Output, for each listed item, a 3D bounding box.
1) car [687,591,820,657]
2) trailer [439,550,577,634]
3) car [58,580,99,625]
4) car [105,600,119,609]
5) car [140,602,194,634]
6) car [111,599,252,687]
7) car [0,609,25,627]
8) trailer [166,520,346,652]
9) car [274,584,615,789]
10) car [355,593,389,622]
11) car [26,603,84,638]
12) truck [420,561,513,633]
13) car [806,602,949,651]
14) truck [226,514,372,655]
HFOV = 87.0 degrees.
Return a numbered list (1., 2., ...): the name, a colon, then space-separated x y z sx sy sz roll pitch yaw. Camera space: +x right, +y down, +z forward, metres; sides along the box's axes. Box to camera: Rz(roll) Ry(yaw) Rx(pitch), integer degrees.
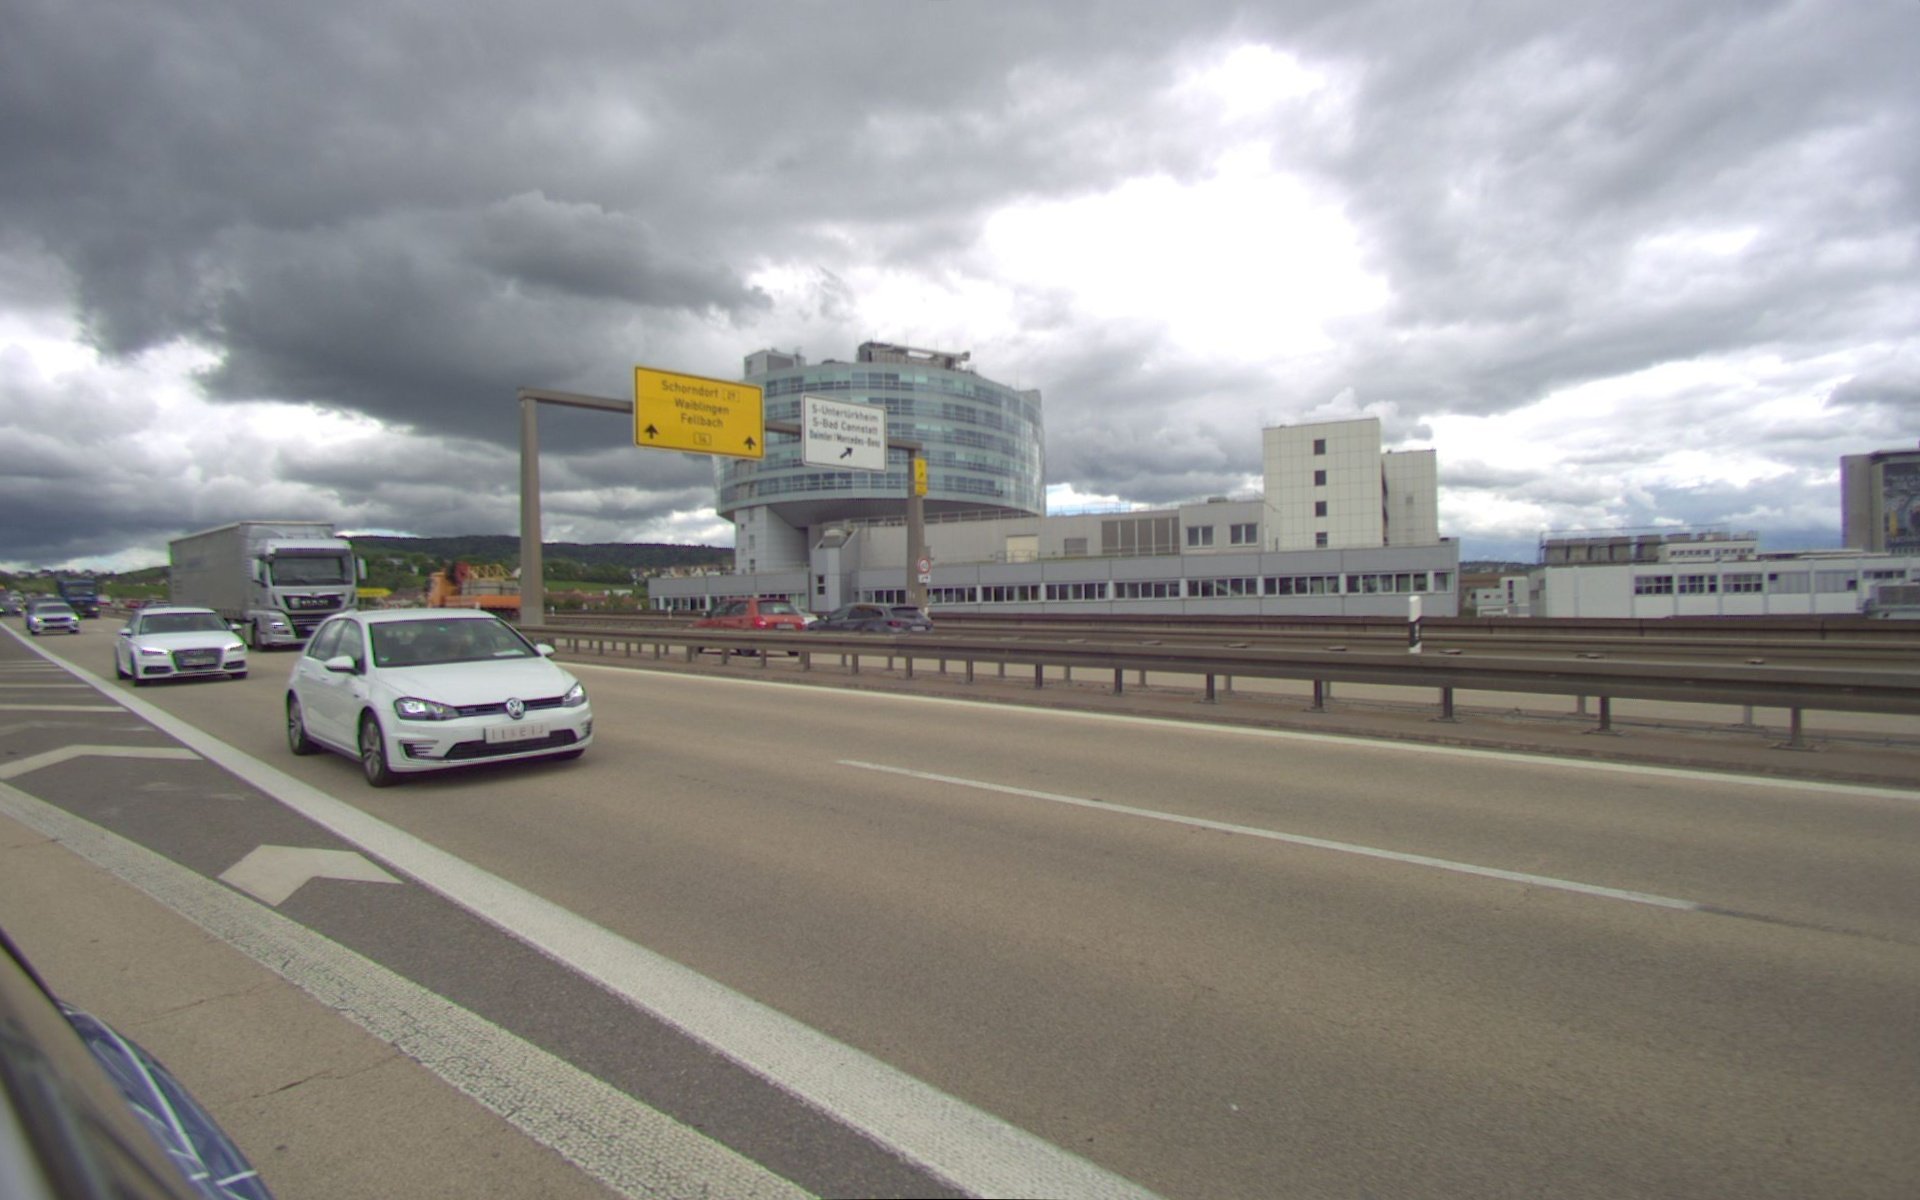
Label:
1. car: -5.376 0.594 26.113 1.674 1.563 3.646 2 -2 -43
2. trailer: -21.971 -0.237 48.848 9.358 3.664 2.704 -2 -3 44
3. car: -77.282 0.226 88.662 2.331 3.688 4.803 -4 2 -44
4. car: -154.133 0.751 183.984 1.664 1.529 3.653 -4 2 -44
5. car: -41.725 0.948 53.229 1.762 1.529 4.003 -4 2 -44
6. car: -15.599 0.801 20.209 1.762 1.529 4.003 -3 1 -44
7. car: -95.258 1.790 101.414 1.968 1.695 4.007 -2 0 -39
8. trailer: -25.954 -0.455 36.825 13.980 4.041 2.824 0 1 45
9. car: -4.993 0.663 9.528 4.002 1.508 1.689 -1 0 45
10. car: -55.137 0.724 94.791 2.543 2.664 6.208 0 -1 -32
11. car: -47.253 1.073 52.836 4.001 1.695 1.971 -1 0 44
12. truck: -25.490 -0.082 52.218 5.107 3.506 2.711 -2 -3 44
13. car: -2.346 0.733 27.840 1.622 1.244 4.285 2 -3 -43
14. truck: -20.731 -0.476 31.665 4.794 4.041 2.824 0 1 45
